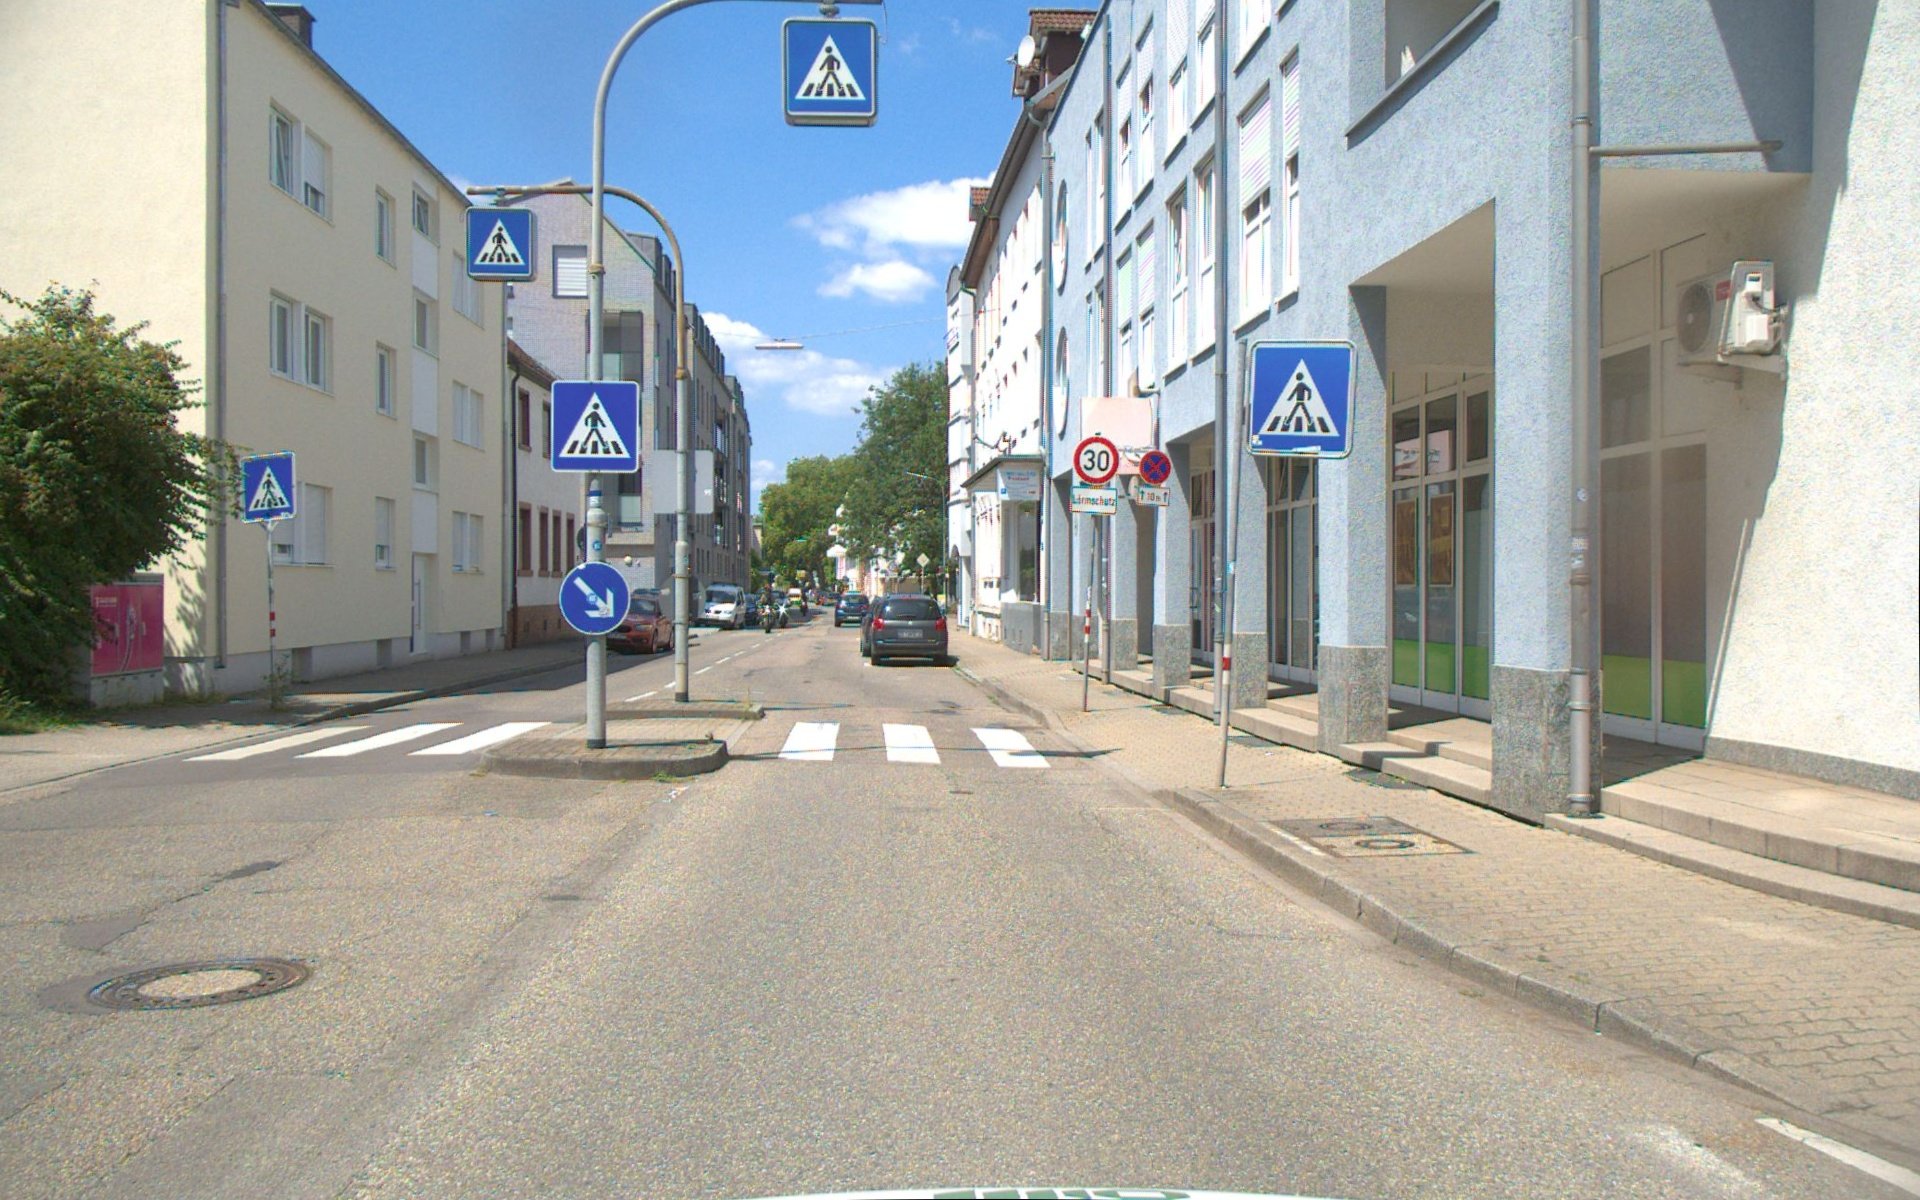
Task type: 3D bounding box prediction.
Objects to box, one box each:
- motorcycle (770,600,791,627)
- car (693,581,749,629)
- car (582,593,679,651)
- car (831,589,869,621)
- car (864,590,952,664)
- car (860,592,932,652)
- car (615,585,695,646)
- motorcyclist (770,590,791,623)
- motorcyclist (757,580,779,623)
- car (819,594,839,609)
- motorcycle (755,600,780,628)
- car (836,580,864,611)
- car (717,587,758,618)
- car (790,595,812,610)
[{"bbox_3d":[-8.216,0.596,75.803,0.878,1.196,2.206,0,0,-4],"label":"motorcycle"},{"bbox_3d":[-10.243,0.186,71.080,1.721,1.925,4.336,2,0,0],"label":"car"},{"bbox_3d":[-8.585,0.548,43.433,1.797,1.441,4.288,0,0,-2],"label":"car"},{"bbox_3d":[-5.027,0.215,75.920,1.681,1.426,3.997,0,1,-4],"label":"car"},{"bbox_3d":[-1.196,0.559,36.552,1.676,1.534,3.995,0,0,-6],"label":"car"},{"bbox_3d":[-1.674,0.533,42.129,1.695,1.445,4.541,0,0,-4],"label":"car"},{"bbox_3d":[-8.880,0.444,48.409,1.759,1.675,3.942,1,0,-3],"label":"car"},{"bbox_3d":[-8.209,0.300,75.779,0.898,1.506,1.202,0,0,-4],"label":"motorcyclist"},{"bbox_3d":[-7.556,0.038,65.116,0.698,1.663,1.069,-1,0,0],"label":"motorcyclist"},{"bbox_3d":[-14.597,0.194,184.111,1.957,1.646,3.991,0,0,-9],"label":"car"},{"bbox_3d":[-7.564,0.550,65.112,0.698,1.046,2.239,-1,1,0],"label":"motorcycle"},{"bbox_3d":[-7.255,-0.326,109.564,1.802,2.049,3.997,0,1,-3],"label":"car"},{"bbox_3d":[-11.245,0.114,83.940,1.688,1.481,4.003,1,0,-3],"label":"car"},{"bbox_3d":[-16.723,0.253,174.343,1.953,1.405,4.391,2,0,-2],"label":"car"}]
